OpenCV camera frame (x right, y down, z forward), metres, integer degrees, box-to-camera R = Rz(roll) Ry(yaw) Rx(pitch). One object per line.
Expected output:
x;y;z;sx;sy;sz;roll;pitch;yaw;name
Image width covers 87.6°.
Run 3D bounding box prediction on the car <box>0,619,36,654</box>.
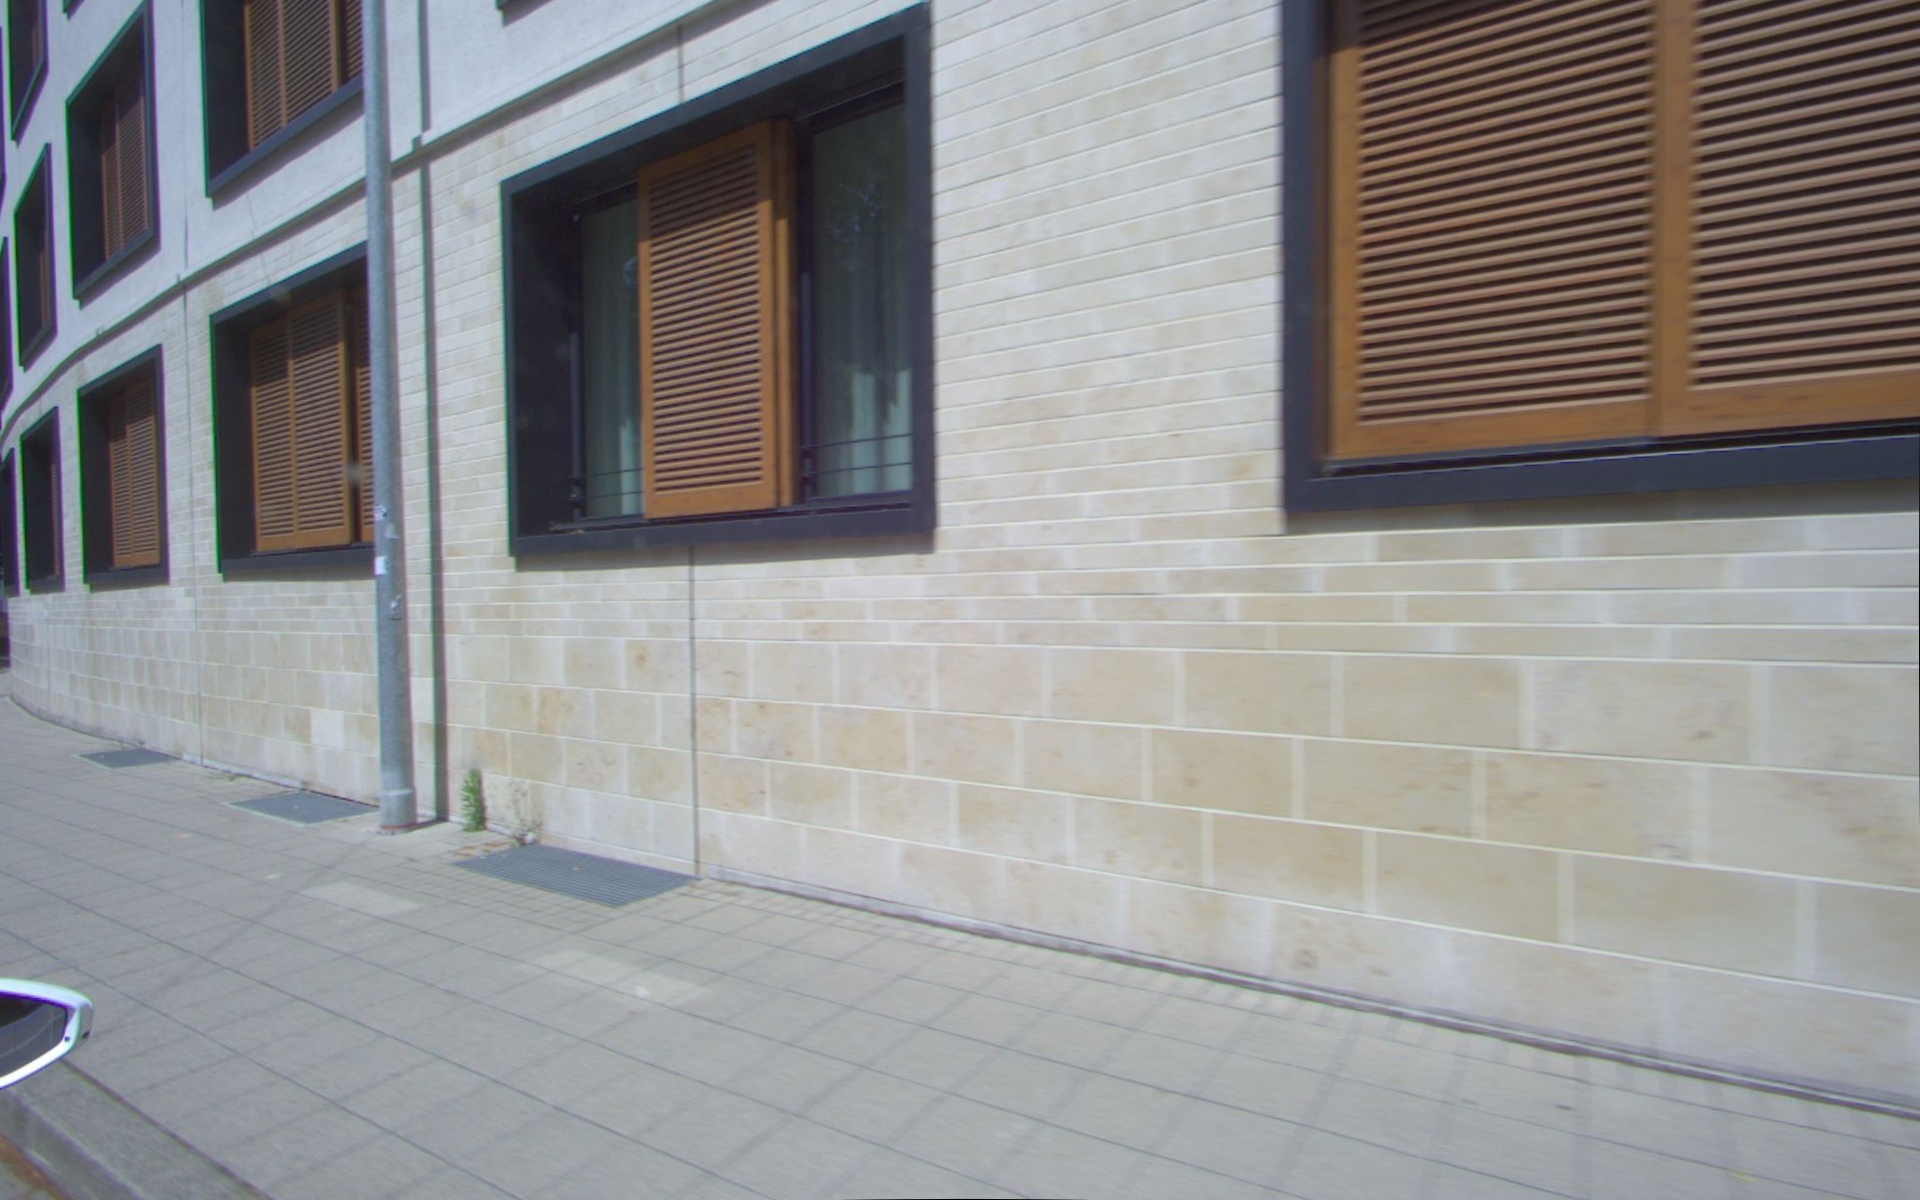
-42.241;1.578;42.793;1.709;1.507;4.407;0;0;-6;car
